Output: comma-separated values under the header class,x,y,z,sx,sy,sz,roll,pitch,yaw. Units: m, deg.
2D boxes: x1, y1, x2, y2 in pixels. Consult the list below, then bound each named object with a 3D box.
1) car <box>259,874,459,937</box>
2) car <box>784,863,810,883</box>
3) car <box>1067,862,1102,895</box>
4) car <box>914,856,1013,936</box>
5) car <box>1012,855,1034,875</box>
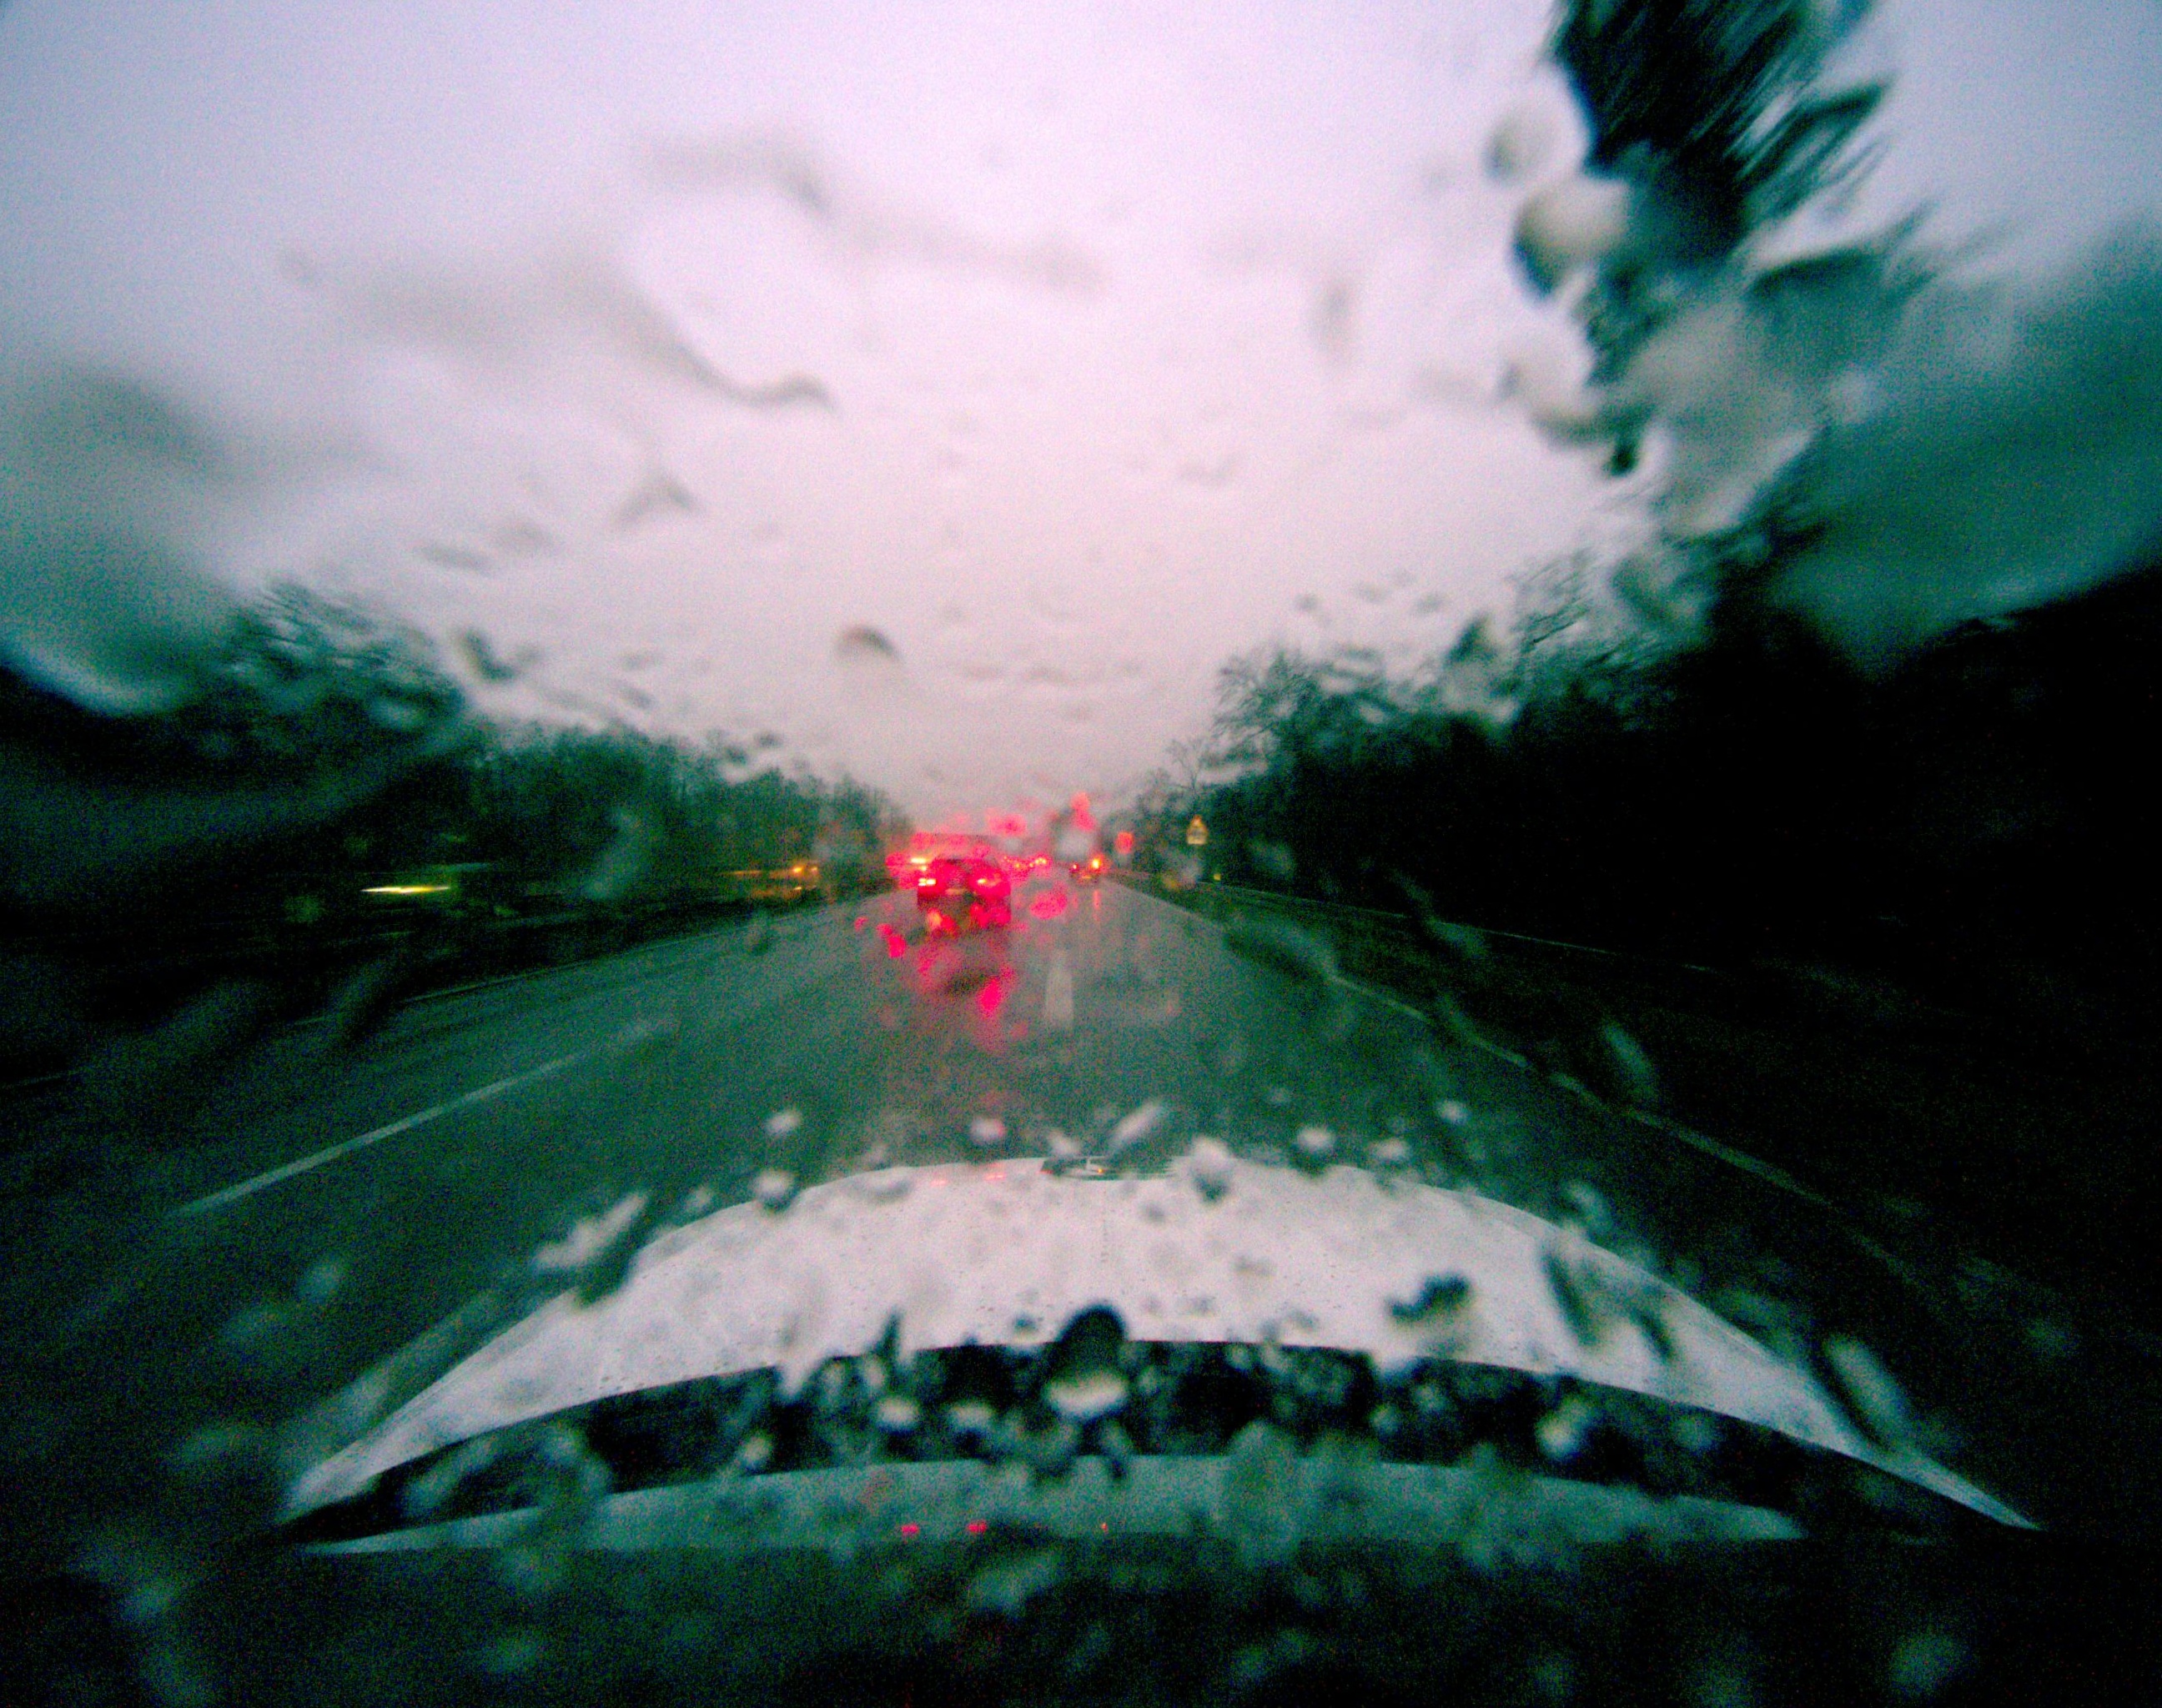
class,x,y,z,sx,sy,sz,roll,pitch,yaw
car,-20.271,1.372,23.168,1.738,1.487,4.426,2,0,-1
car,-23.061,1.523,66.116,1.750,1.487,3.970,1,-1,-23
car,0.142,1.322,45.999,1.728,1.428,3.762,-1,5,-4
car,-2.668,0.897,19.357,1.990,1.665,3.994,-1,0,-4
car,-5.395,0.999,75.452,1.876,1.617,3.867,1,1,-6
